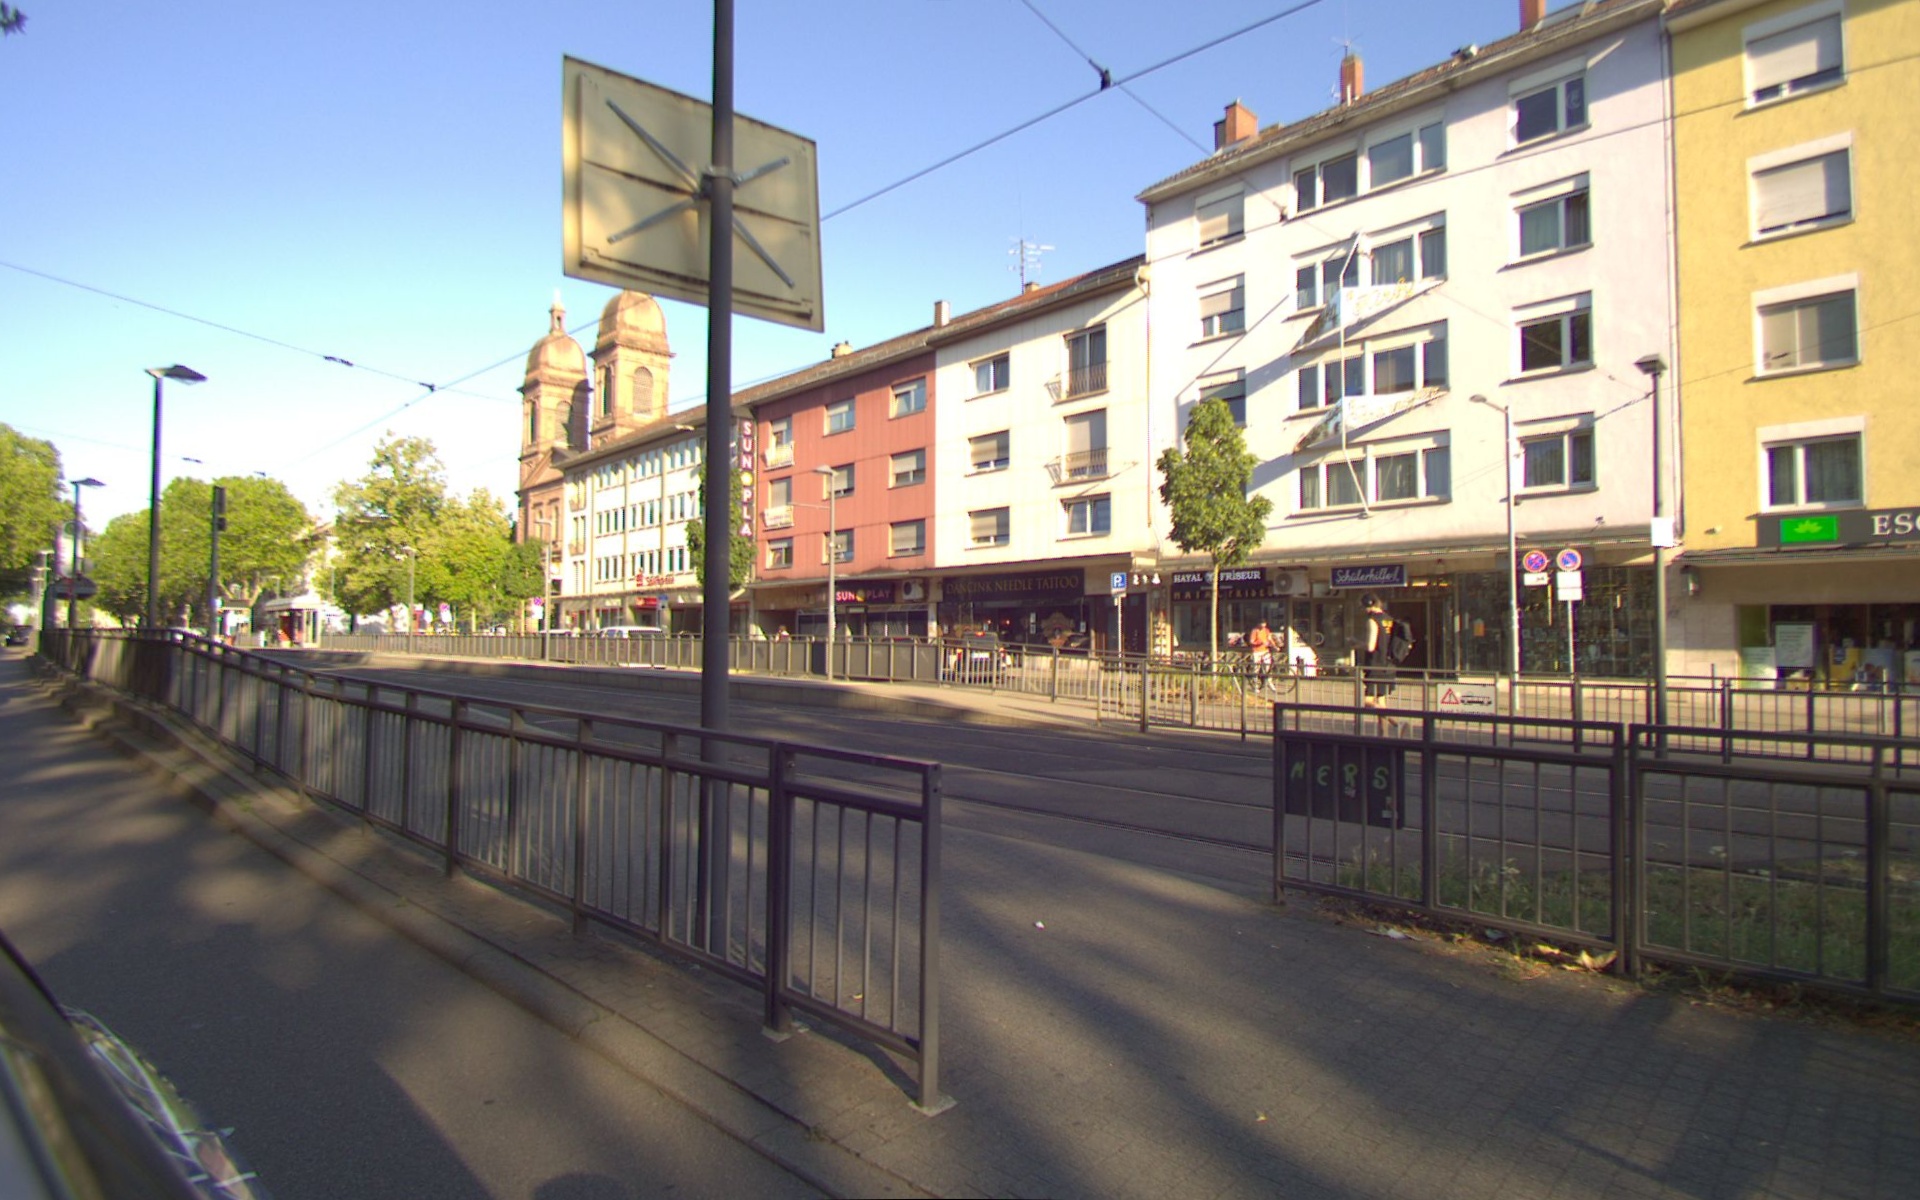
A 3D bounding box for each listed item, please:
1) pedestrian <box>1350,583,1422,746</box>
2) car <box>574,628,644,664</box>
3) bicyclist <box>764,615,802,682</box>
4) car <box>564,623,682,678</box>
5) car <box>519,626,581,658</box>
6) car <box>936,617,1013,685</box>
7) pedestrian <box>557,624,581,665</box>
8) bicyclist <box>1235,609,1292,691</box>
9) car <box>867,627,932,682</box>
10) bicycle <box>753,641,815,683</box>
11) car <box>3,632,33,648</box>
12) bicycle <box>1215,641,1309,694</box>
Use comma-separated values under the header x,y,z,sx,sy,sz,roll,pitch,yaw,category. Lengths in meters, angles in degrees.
x,y,z,sx,sy,sz,roll,pitch,yaw,category
5.085,0.753,12.072,0.589,1.863,0.734,-2,-3,40,pedestrian
-16.323,2.111,47.234,1.844,1.541,3.999,-1,0,1,car
-5.513,1.506,31.603,0.911,2.029,0.755,-2,-4,45,bicyclist
-11.442,1.681,34.220,4.437,1.730,1.971,-2,-3,44,car
-21.227,2.135,52.573,1.718,1.497,4.001,-1,0,-2,car
0.367,1.484,30.601,1.835,1.813,3.775,-1,0,-6,car
-17.648,2.016,45.664,0.758,1.801,0.724,-1,-1,3,pedestrian
7.332,1.194,24.445,0.683,1.901,1.060,-2,0,-35,bicyclist
-1.987,1.680,32.238,1.835,1.502,3.775,-1,0,-6,car
-5.523,1.915,31.595,0.709,1.239,2.279,3,-4,-45,bicycle
-87.550,3.729,94.008,3.999,1.408,1.696,-1,-1,42,car
7.286,1.595,24.516,0.696,1.168,2.204,-1,0,-35,bicycle
